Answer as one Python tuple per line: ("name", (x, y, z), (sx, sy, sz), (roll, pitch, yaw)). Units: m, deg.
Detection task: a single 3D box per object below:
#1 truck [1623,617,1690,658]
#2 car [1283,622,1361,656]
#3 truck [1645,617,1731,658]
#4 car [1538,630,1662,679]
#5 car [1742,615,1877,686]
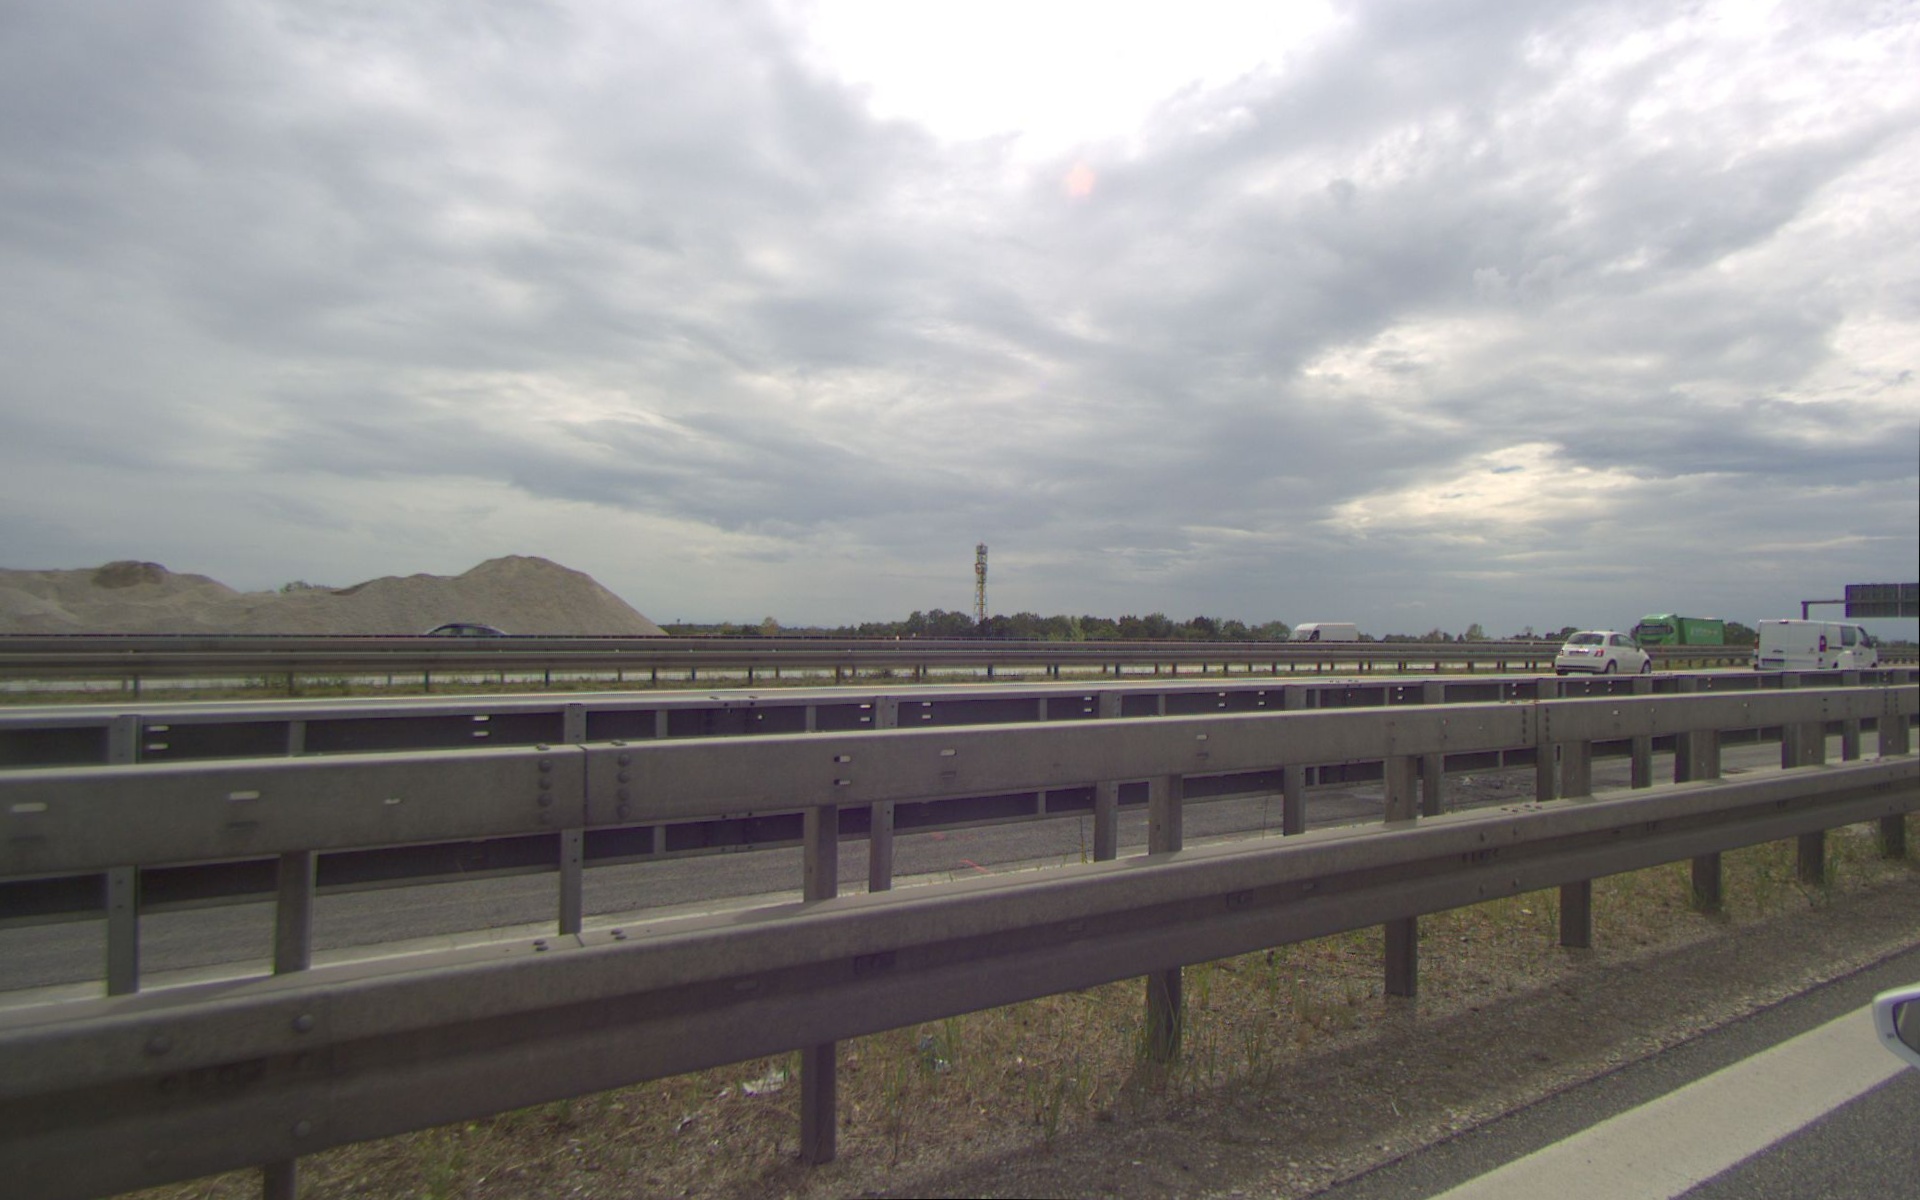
("truck", (64.247, 3.449, 92.678), (5.829, 3.657, 3.025), (2, -1, -32))
("car", (25.387, 2.756, 70.331), (5.455, 2.253, 2.184), (2, 0, -32))
("truck", (69.684, 3.613, 96.088), (10.321, 3.683, 2.997), (2, 0, -32))
("car", (20.772, 1.763, 32.581), (3.953, 1.438, 1.789), (2, 0, -30))
("car", (26.841, 1.574, 31.730), (4.325, 2.040, 1.983), (2, 0, -31))
